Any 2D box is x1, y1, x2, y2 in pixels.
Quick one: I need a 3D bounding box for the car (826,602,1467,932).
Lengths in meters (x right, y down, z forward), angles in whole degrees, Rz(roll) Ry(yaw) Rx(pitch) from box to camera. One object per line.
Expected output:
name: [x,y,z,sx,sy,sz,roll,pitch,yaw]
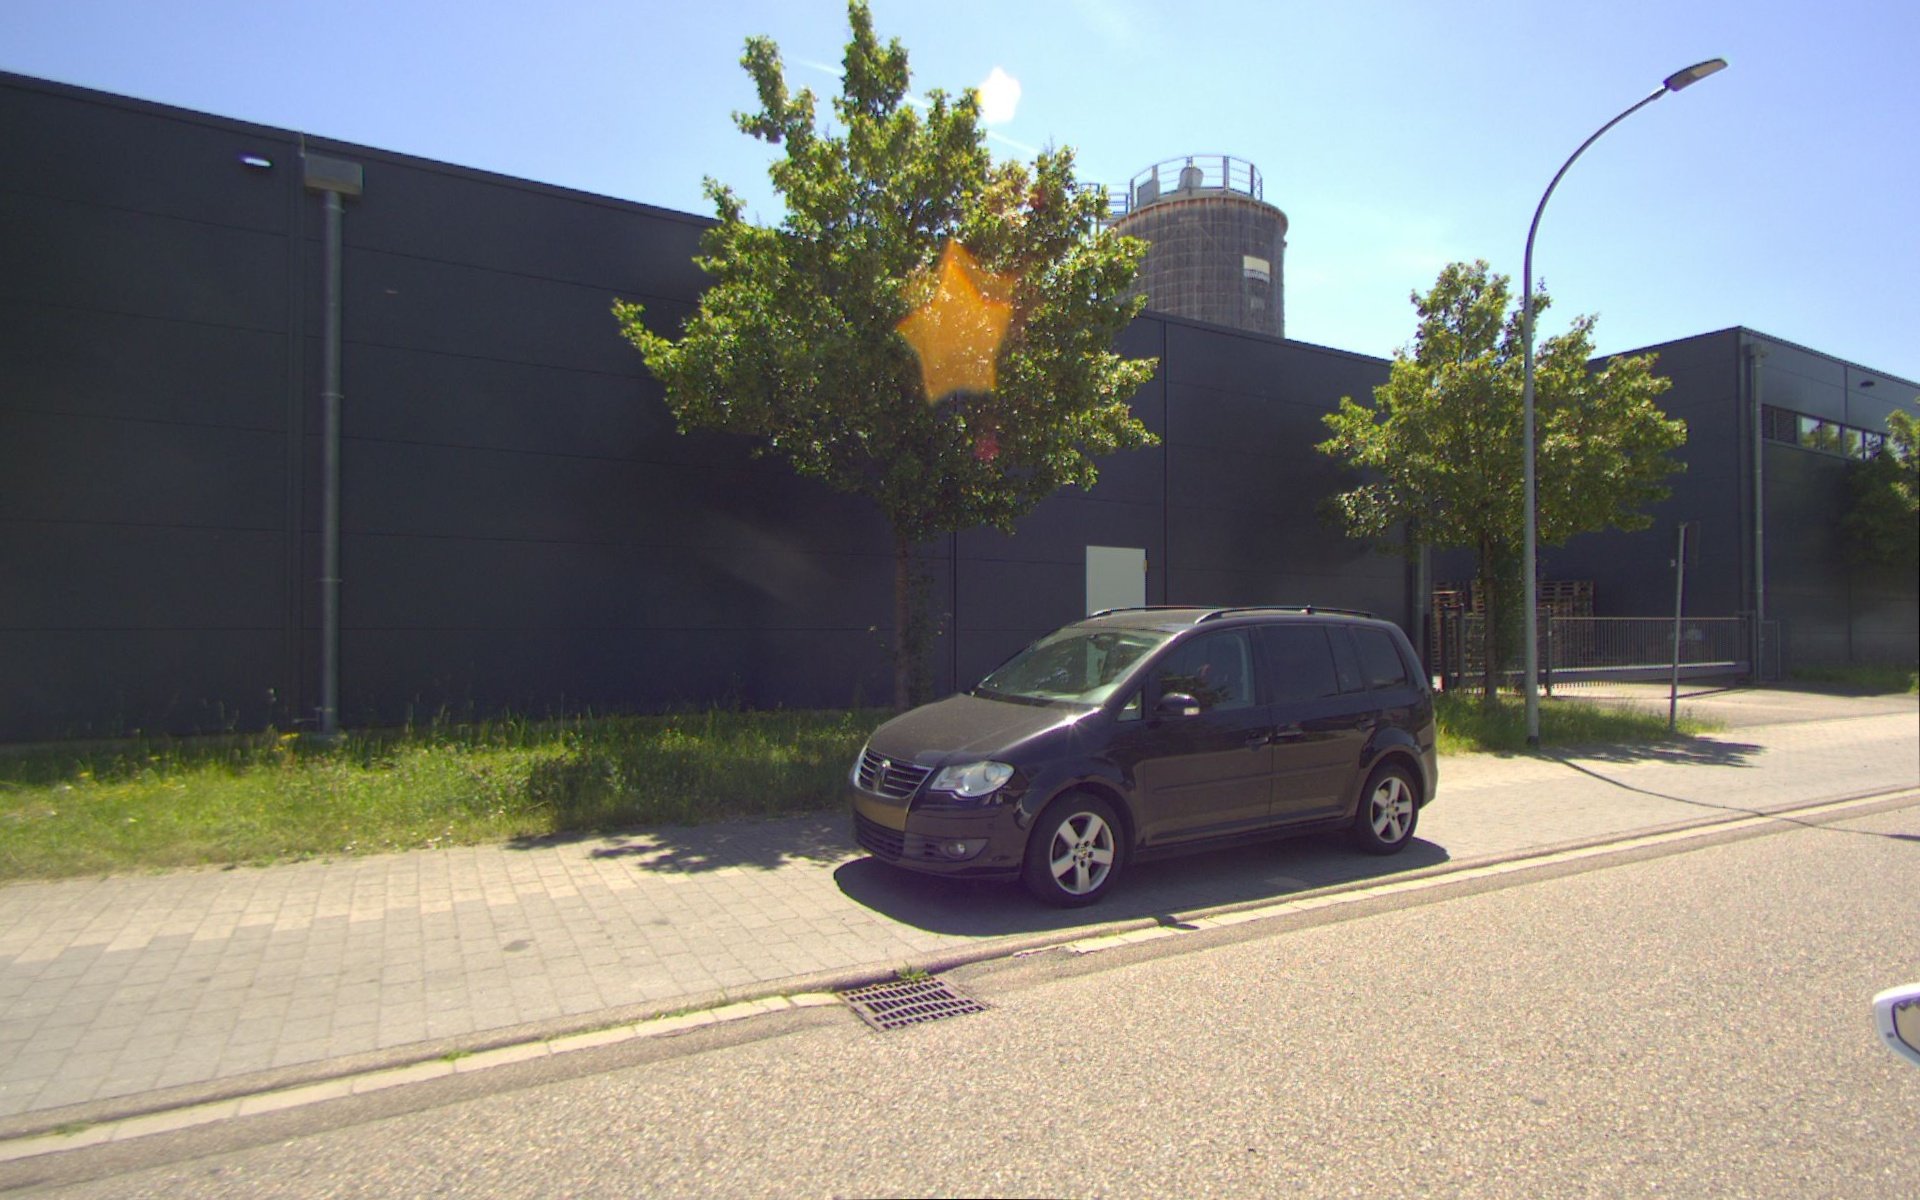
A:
car: [1.375,0.874,6.830,4.199,1.633,1.762,1,-1,-31]
